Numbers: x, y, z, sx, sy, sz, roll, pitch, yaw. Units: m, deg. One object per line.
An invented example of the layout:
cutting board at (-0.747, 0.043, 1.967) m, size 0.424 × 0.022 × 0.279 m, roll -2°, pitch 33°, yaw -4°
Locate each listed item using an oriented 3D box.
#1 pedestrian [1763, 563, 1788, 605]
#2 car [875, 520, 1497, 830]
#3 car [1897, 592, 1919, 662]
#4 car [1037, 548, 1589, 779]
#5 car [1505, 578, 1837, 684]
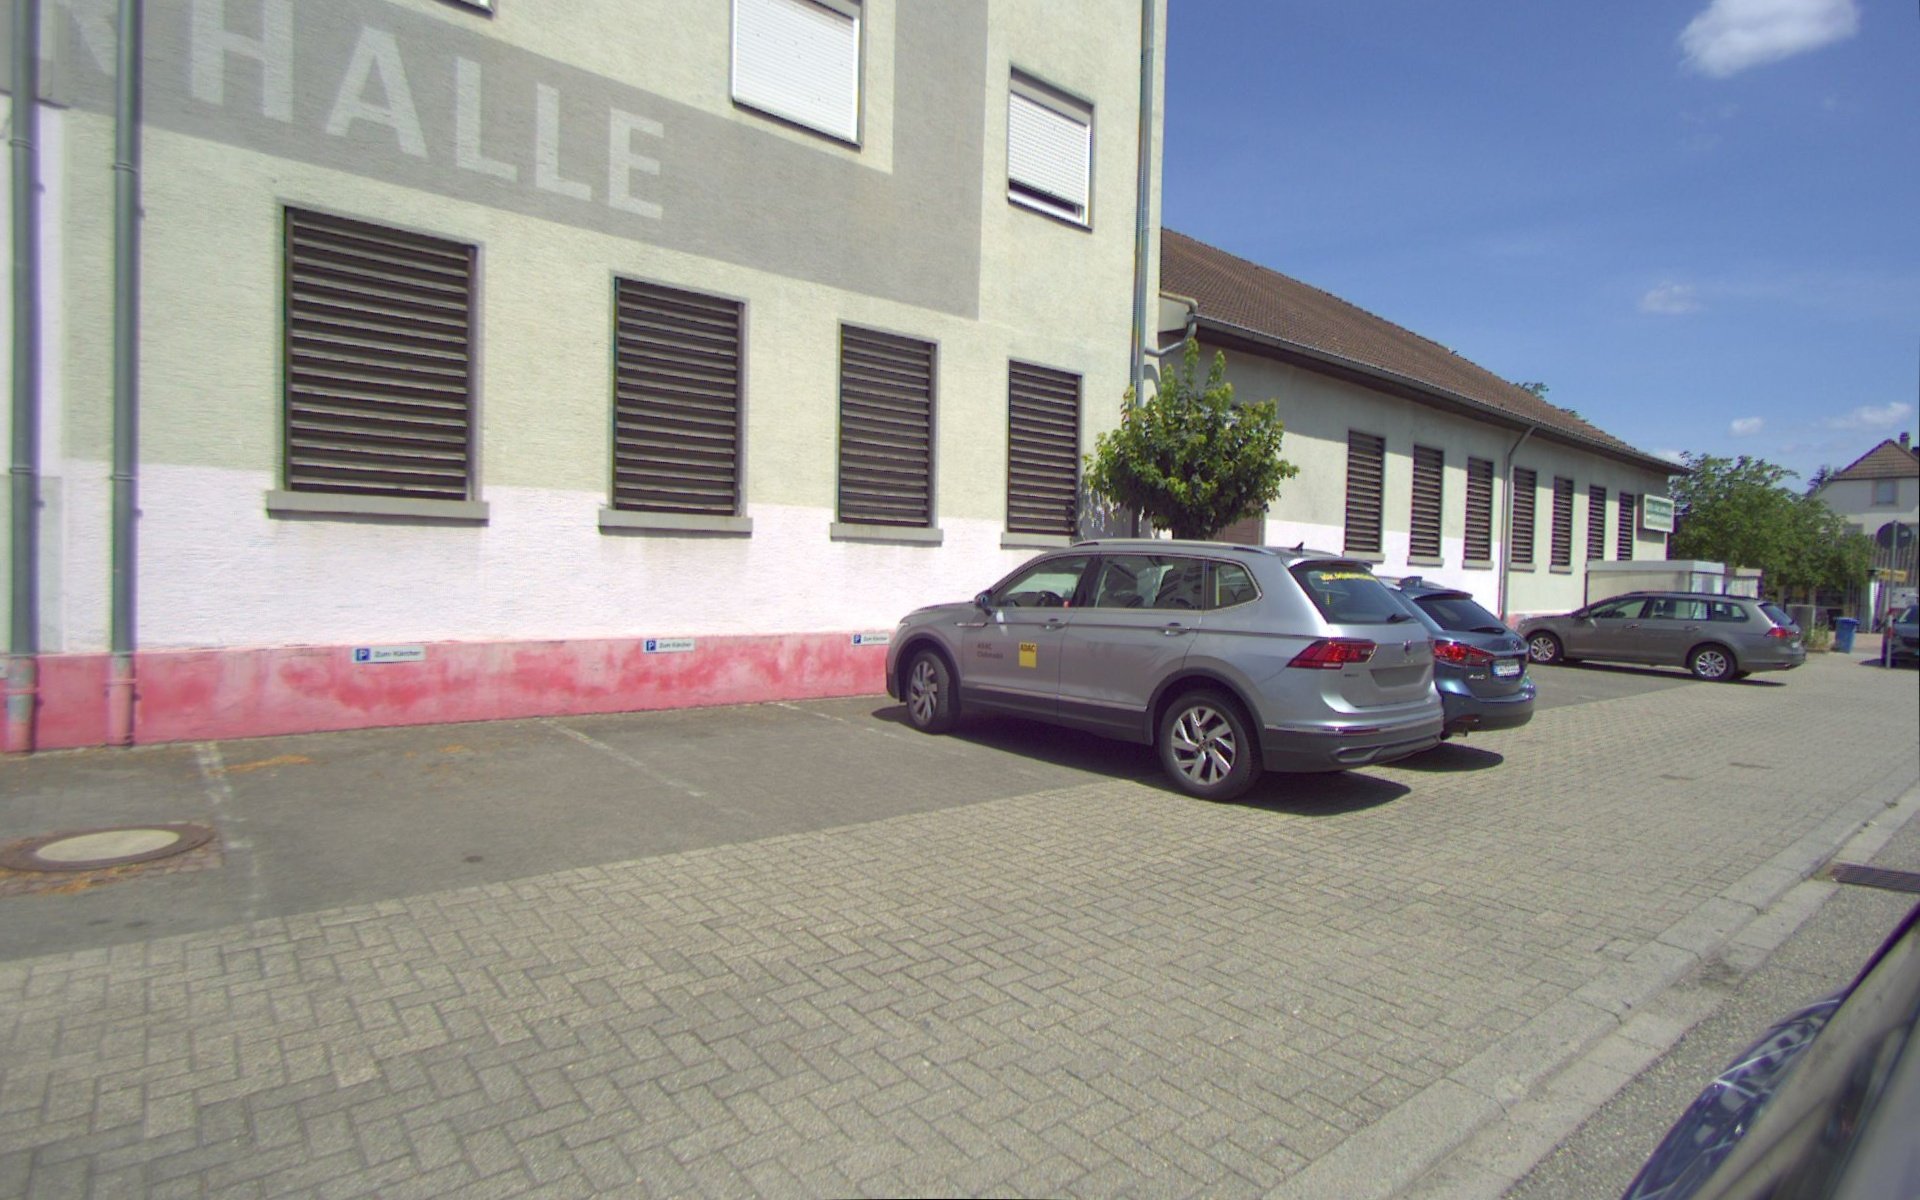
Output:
pedestrian at (34.596, -0.682, 42.942) m, size 0.587 × 1.741 × 0.464 m, roll 2°, pitch 1°, yaw 1°
car at (1.453, 0.291, 7.957) m, size 1.890 × 1.717 × 4.461 m, roll 0°, pitch 3°, yaw -42°
car at (22.684, 0.608, 22.966) m, size 4.068 × 1.507 × 1.631 m, roll 0°, pitch 2°, yaw -41°
car at (3.031, 0.366, 9.551) m, size 1.965 × 1.538 × 4.511 m, roll 0°, pitch 3°, yaw -41°
car at (12.695, 0.457, 18.338) m, size 1.884 × 1.472 × 4.538 m, roll 0°, pitch 3°, yaw -40°
